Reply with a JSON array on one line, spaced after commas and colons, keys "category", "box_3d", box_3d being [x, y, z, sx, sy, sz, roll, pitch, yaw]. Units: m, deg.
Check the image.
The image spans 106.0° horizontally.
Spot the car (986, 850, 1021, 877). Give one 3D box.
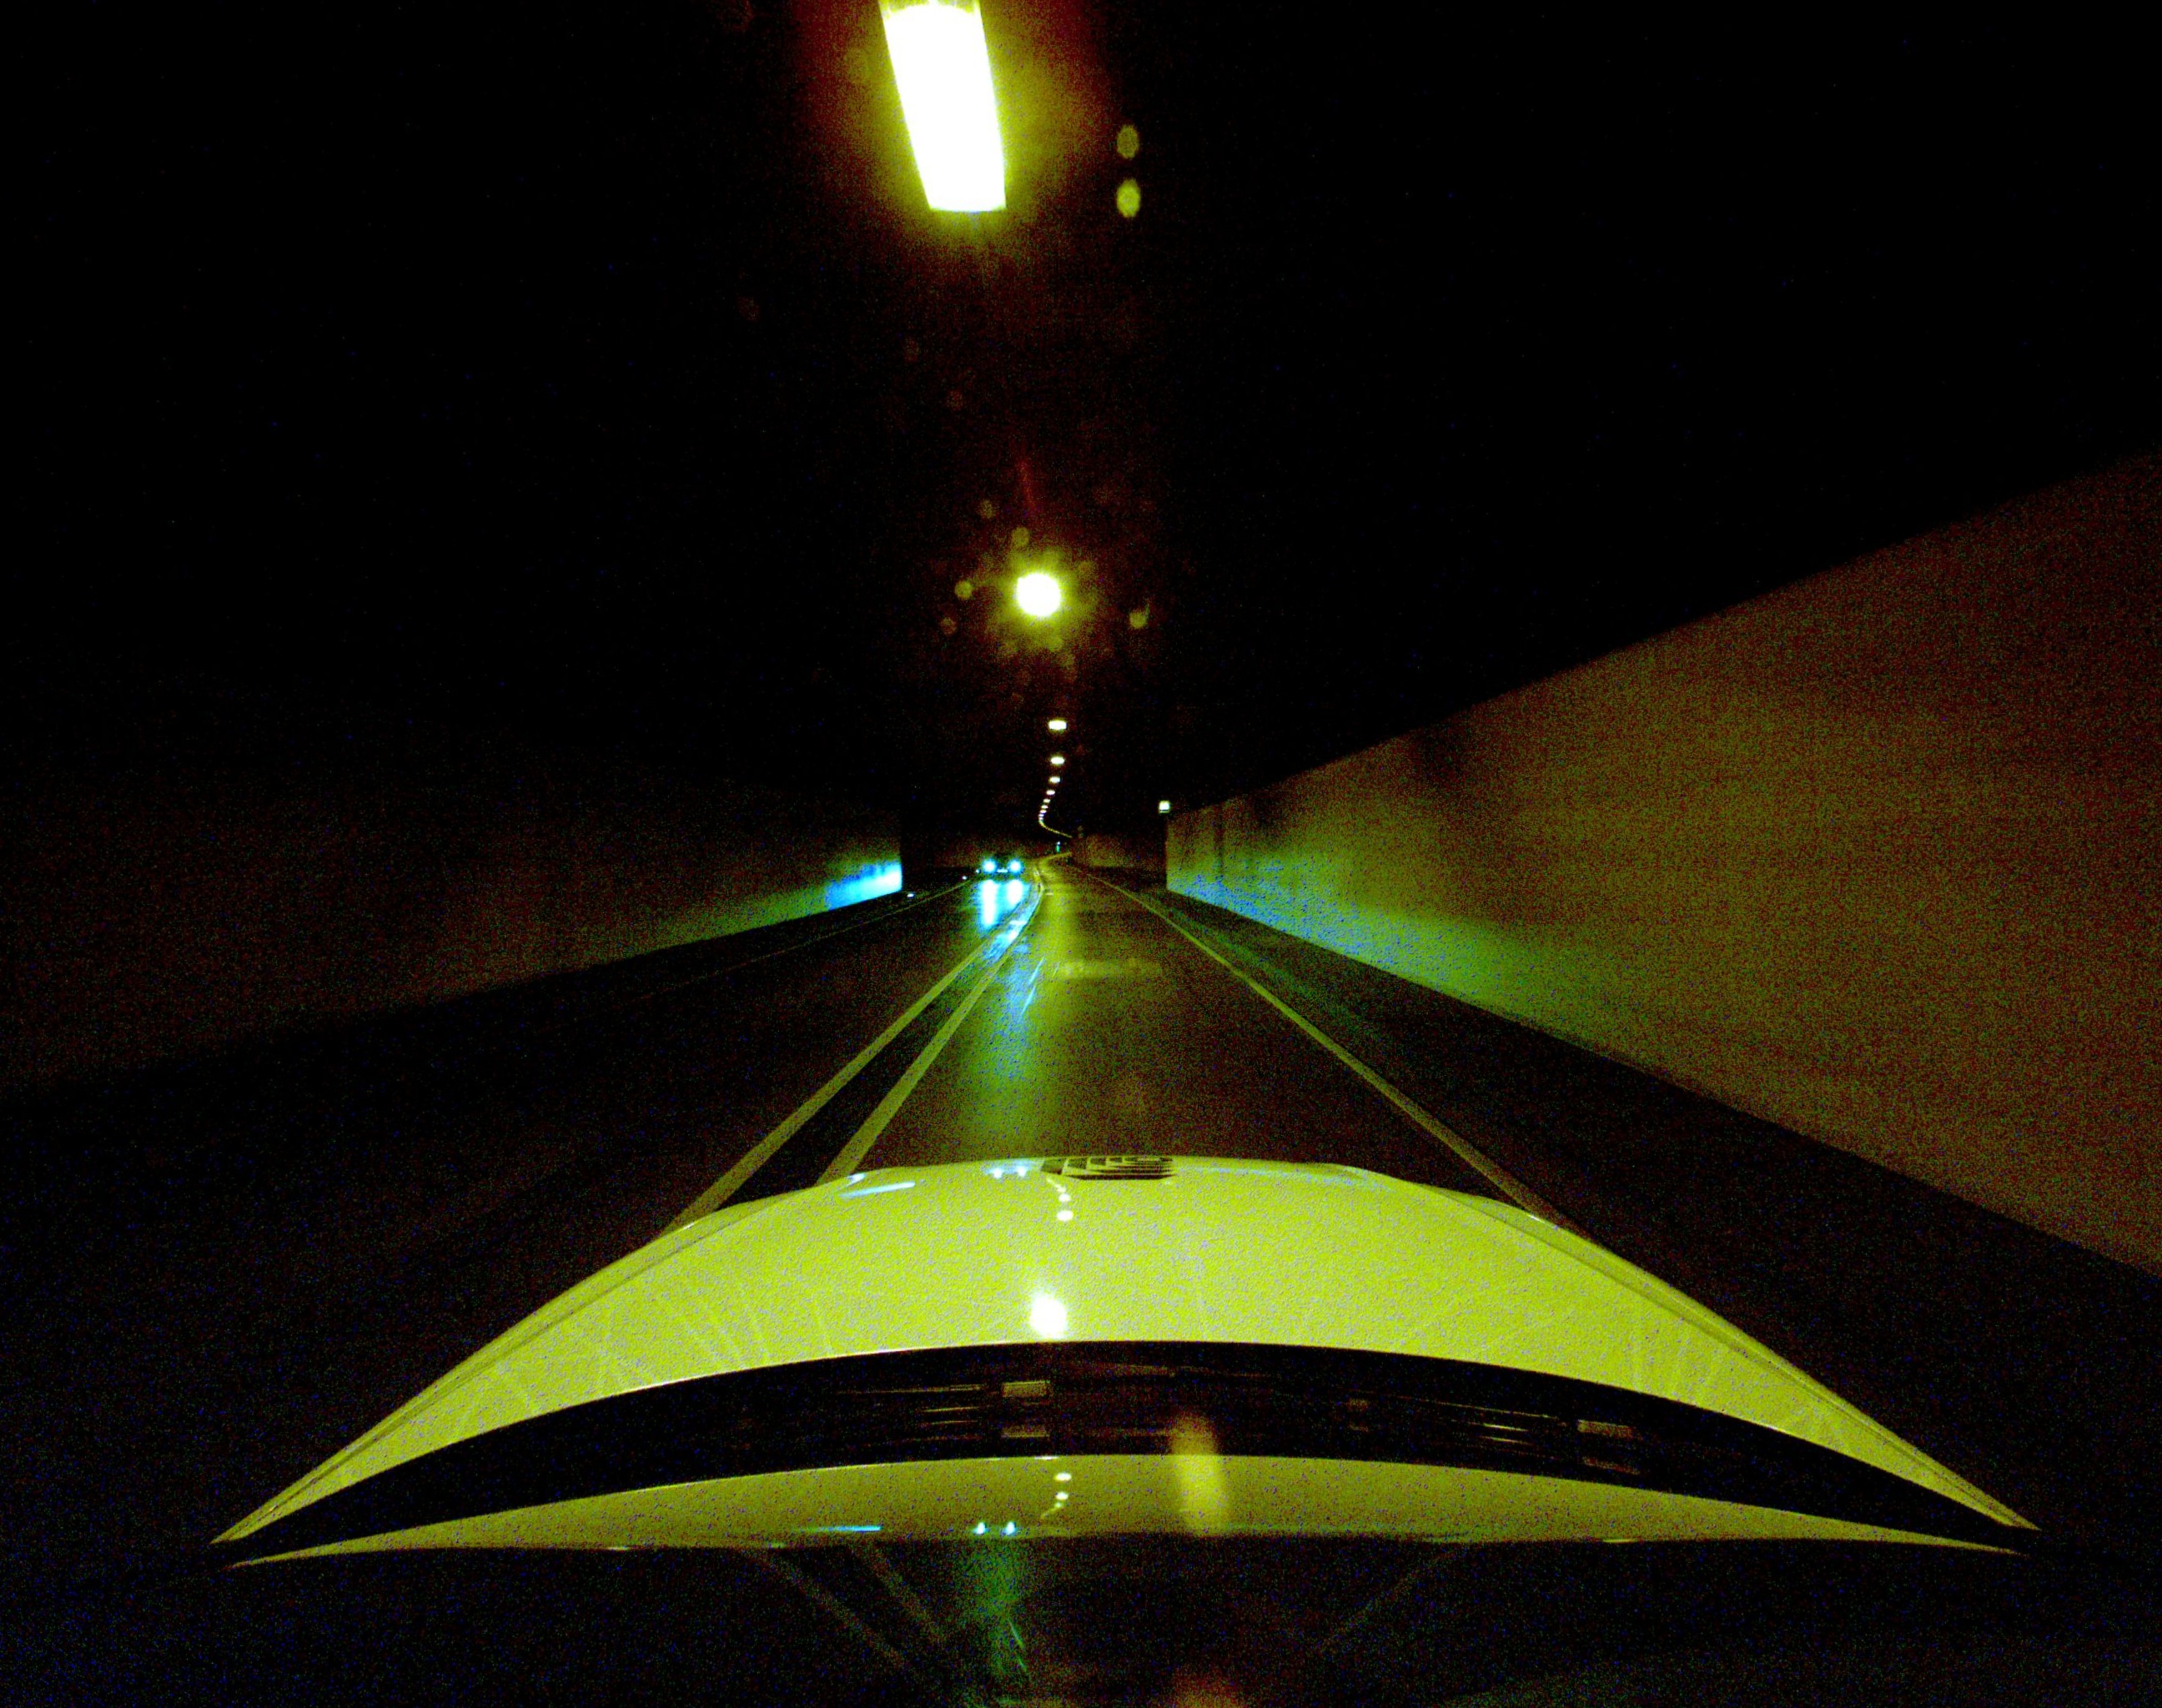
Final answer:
[{"category": "car", "box_3d": [-4.303, 0.509, 45.547, 1.703, 1.416, 4.114, 1, 0, -2]}]
